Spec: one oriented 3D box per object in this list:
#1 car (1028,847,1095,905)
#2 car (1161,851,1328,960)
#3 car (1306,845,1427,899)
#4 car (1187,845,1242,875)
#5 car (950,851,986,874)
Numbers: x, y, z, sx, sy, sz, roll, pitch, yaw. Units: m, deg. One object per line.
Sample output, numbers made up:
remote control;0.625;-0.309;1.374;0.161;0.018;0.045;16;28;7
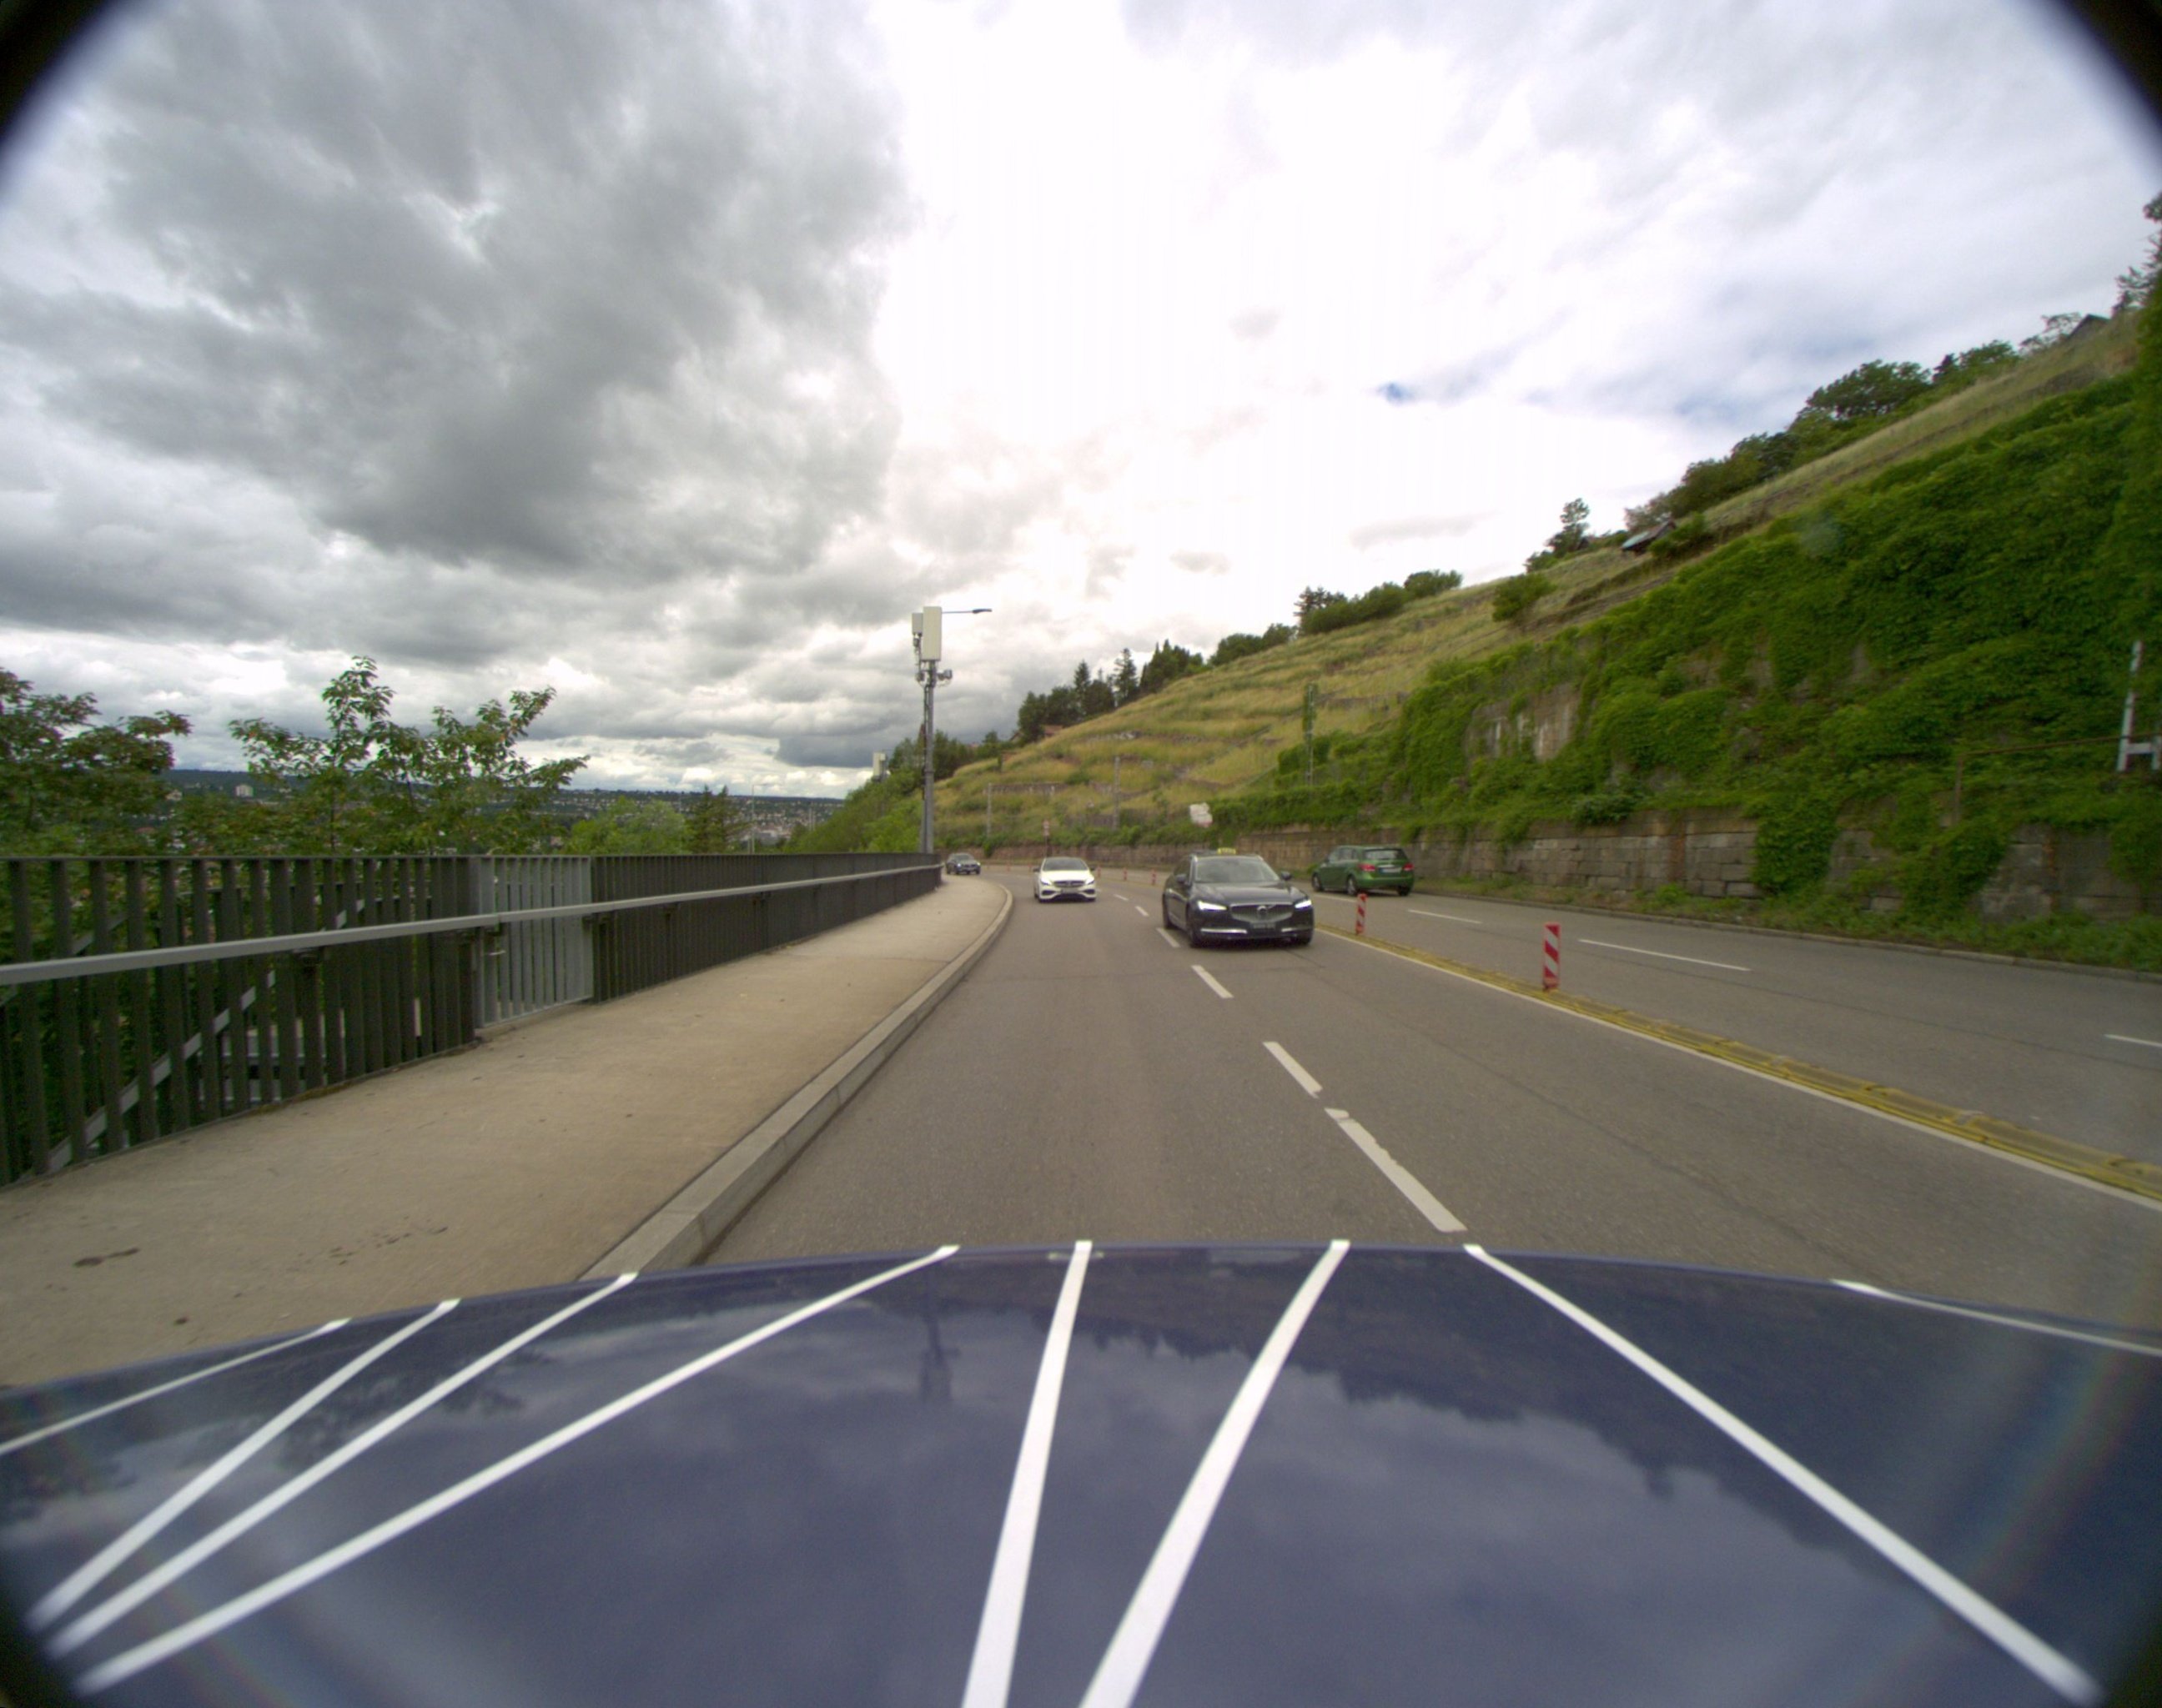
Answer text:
car;-0.551;0.658;24.923;1.998;1.708;4.000;-1;0;1
car;2.558;0.735;12.904;1.900;1.485;4.141;-2;0;0
car;8.830;0.497;23.900;1.856;1.506;4.331;-1;1;-5
car;6.944;0.271;39.881;1.711;1.433;3.997;-1;1;-7
car;-8.717;0.592;58.285;2.002;1.661;4.530;-1;0;-18
